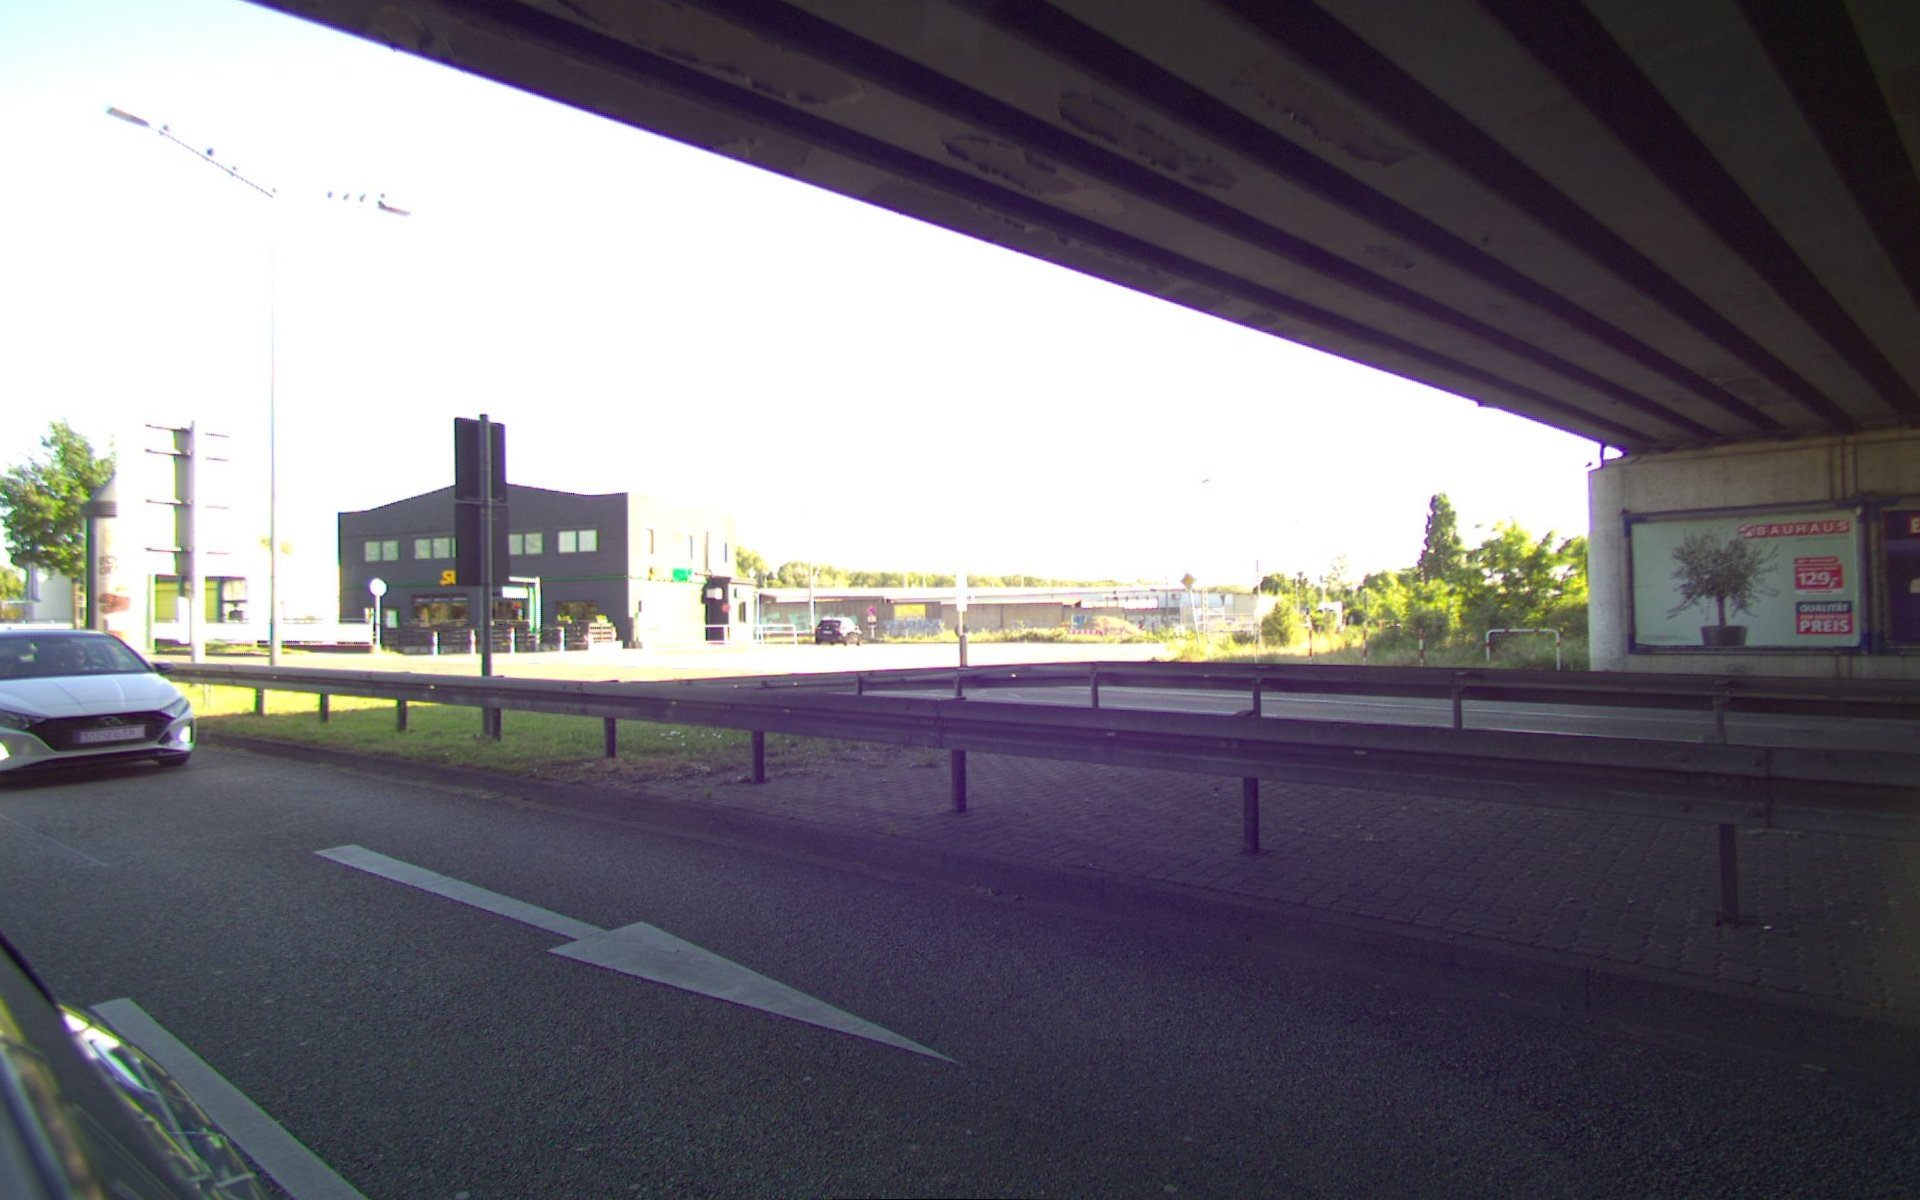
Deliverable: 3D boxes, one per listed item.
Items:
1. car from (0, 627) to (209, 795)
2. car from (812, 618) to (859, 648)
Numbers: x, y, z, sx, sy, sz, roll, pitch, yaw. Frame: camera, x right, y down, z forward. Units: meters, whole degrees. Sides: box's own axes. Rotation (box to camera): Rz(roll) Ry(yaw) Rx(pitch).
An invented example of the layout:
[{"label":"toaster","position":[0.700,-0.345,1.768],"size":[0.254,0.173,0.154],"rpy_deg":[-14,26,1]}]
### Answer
[{"label":"car","position":[-9.512,1.026,10.428],"size":[3.862,1.414,1.717],"rpy_deg":[-2,-1,35]},{"label":"car","position":[-6.695,1.777,54.980],"size":[1.858,1.453,3.996],"rpy_deg":[-1,0,3]}]
